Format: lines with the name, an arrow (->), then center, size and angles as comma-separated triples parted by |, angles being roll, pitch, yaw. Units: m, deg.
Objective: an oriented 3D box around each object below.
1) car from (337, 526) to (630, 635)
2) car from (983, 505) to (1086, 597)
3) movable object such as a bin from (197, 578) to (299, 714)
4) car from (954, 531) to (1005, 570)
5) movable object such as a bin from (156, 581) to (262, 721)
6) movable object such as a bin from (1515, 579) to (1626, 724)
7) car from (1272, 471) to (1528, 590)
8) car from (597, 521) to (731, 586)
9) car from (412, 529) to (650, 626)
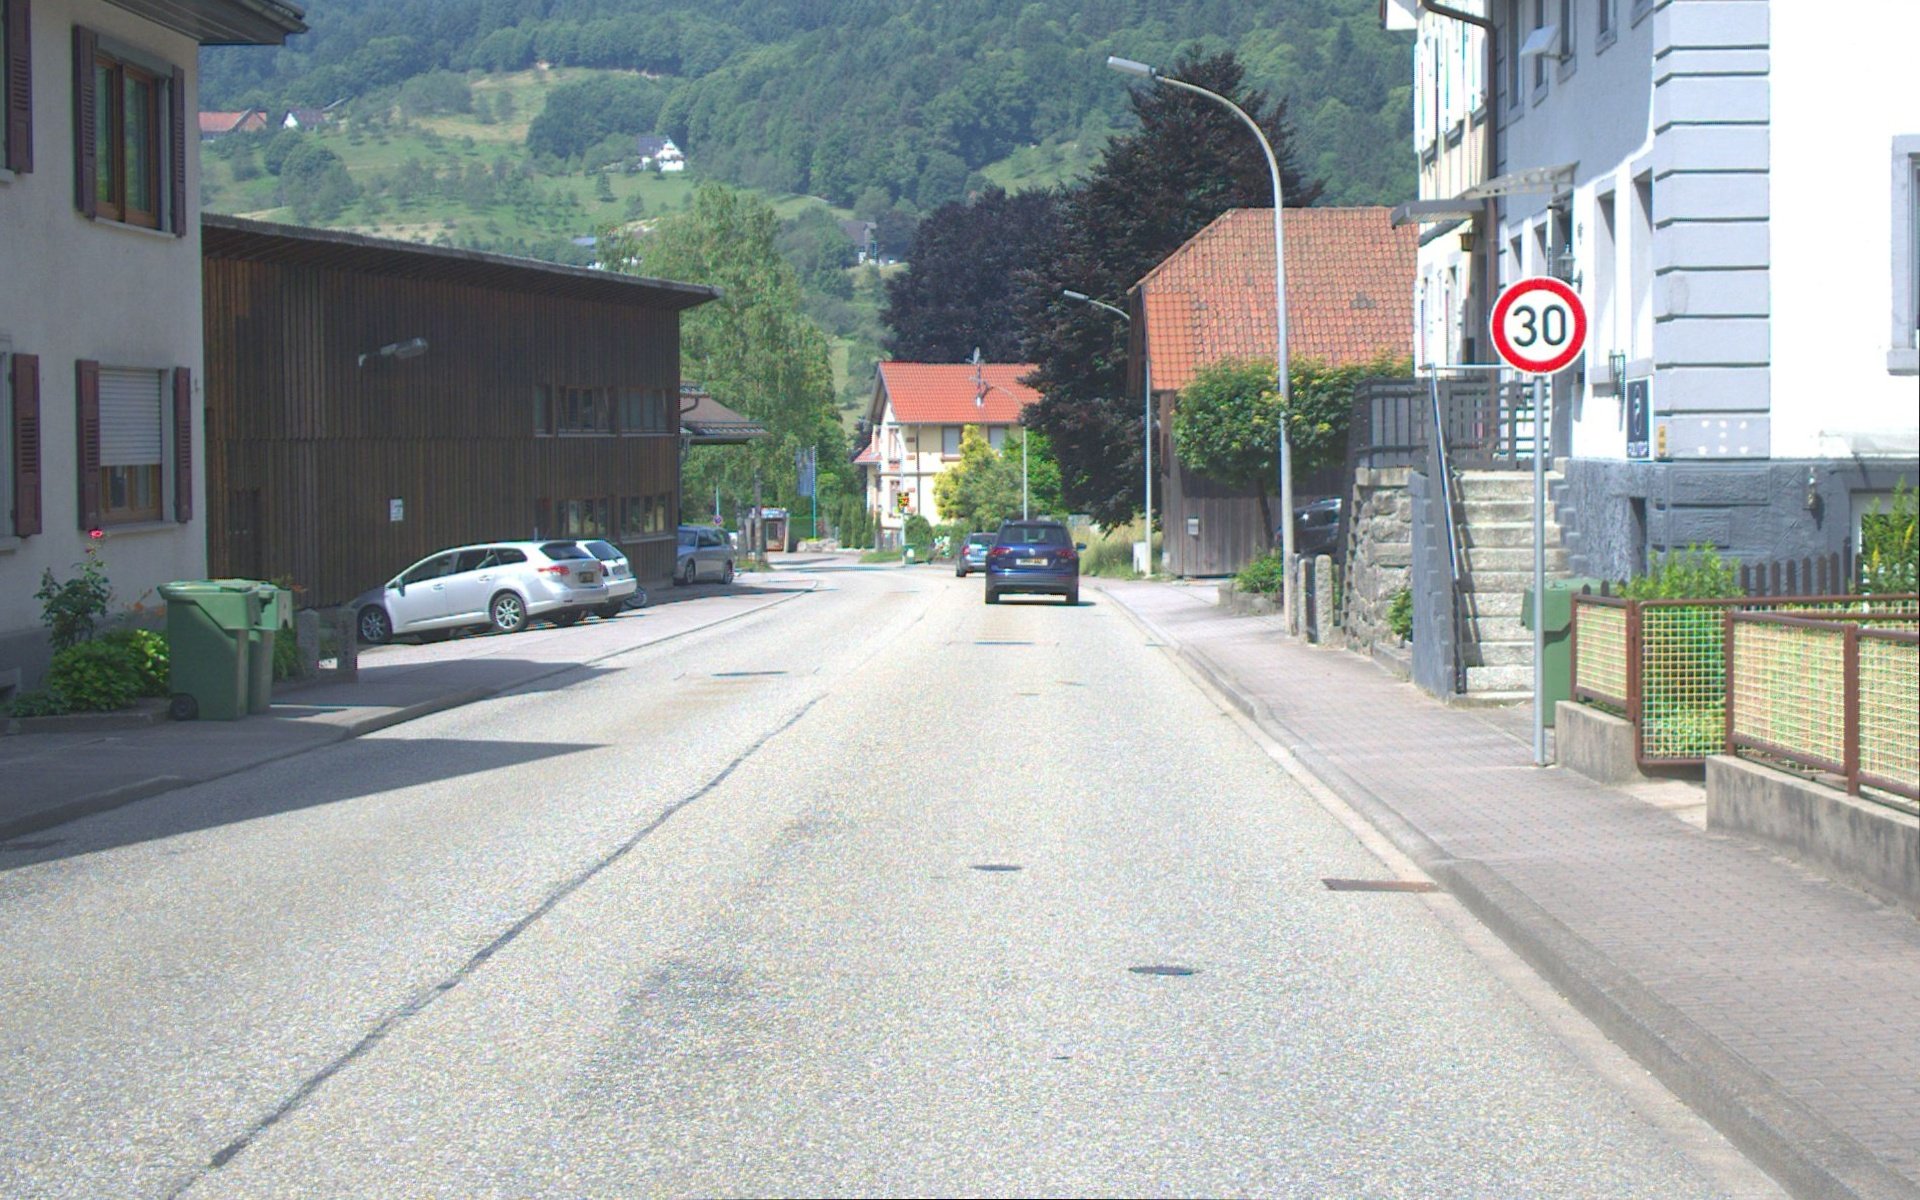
car -> -7.940, -0.322, 57.266 | 4.435, 1.469, 1.922 | -4, 1, 27
car -> 1.427, -0.967, 66.958 | 1.919, 1.692, 3.788 | -1, 1, 1
movable object such as a bin -> -5.740, 0.363, 27.737 | 0.676, 1.063, 0.621 | -1, 1, 0
car -> 0.630, -1.629, 112.558 | 1.476, 1.205, 2.384 | -2, 1, -4
movable object such as a bin -> -5.870, 0.392, 26.895 | 0.676, 1.063, 0.653 | -1, 1, 0
movable object such as a bin -> 4.436, 0.367, 24.999 | 0.704, 1.017, 0.618 | -1, 1, 2
car -> 7.649, -1.217, 60.065 | 4.221, 1.681, 1.776 | -5, 1, 5
car -> -7.185, -1.153, 83.970 | 1.730, 1.449, 4.802 | 0, 2, 15
car -> -7.495, -0.394, 60.181 | 3.662, 1.381, 1.710 | -4, 0, 17
